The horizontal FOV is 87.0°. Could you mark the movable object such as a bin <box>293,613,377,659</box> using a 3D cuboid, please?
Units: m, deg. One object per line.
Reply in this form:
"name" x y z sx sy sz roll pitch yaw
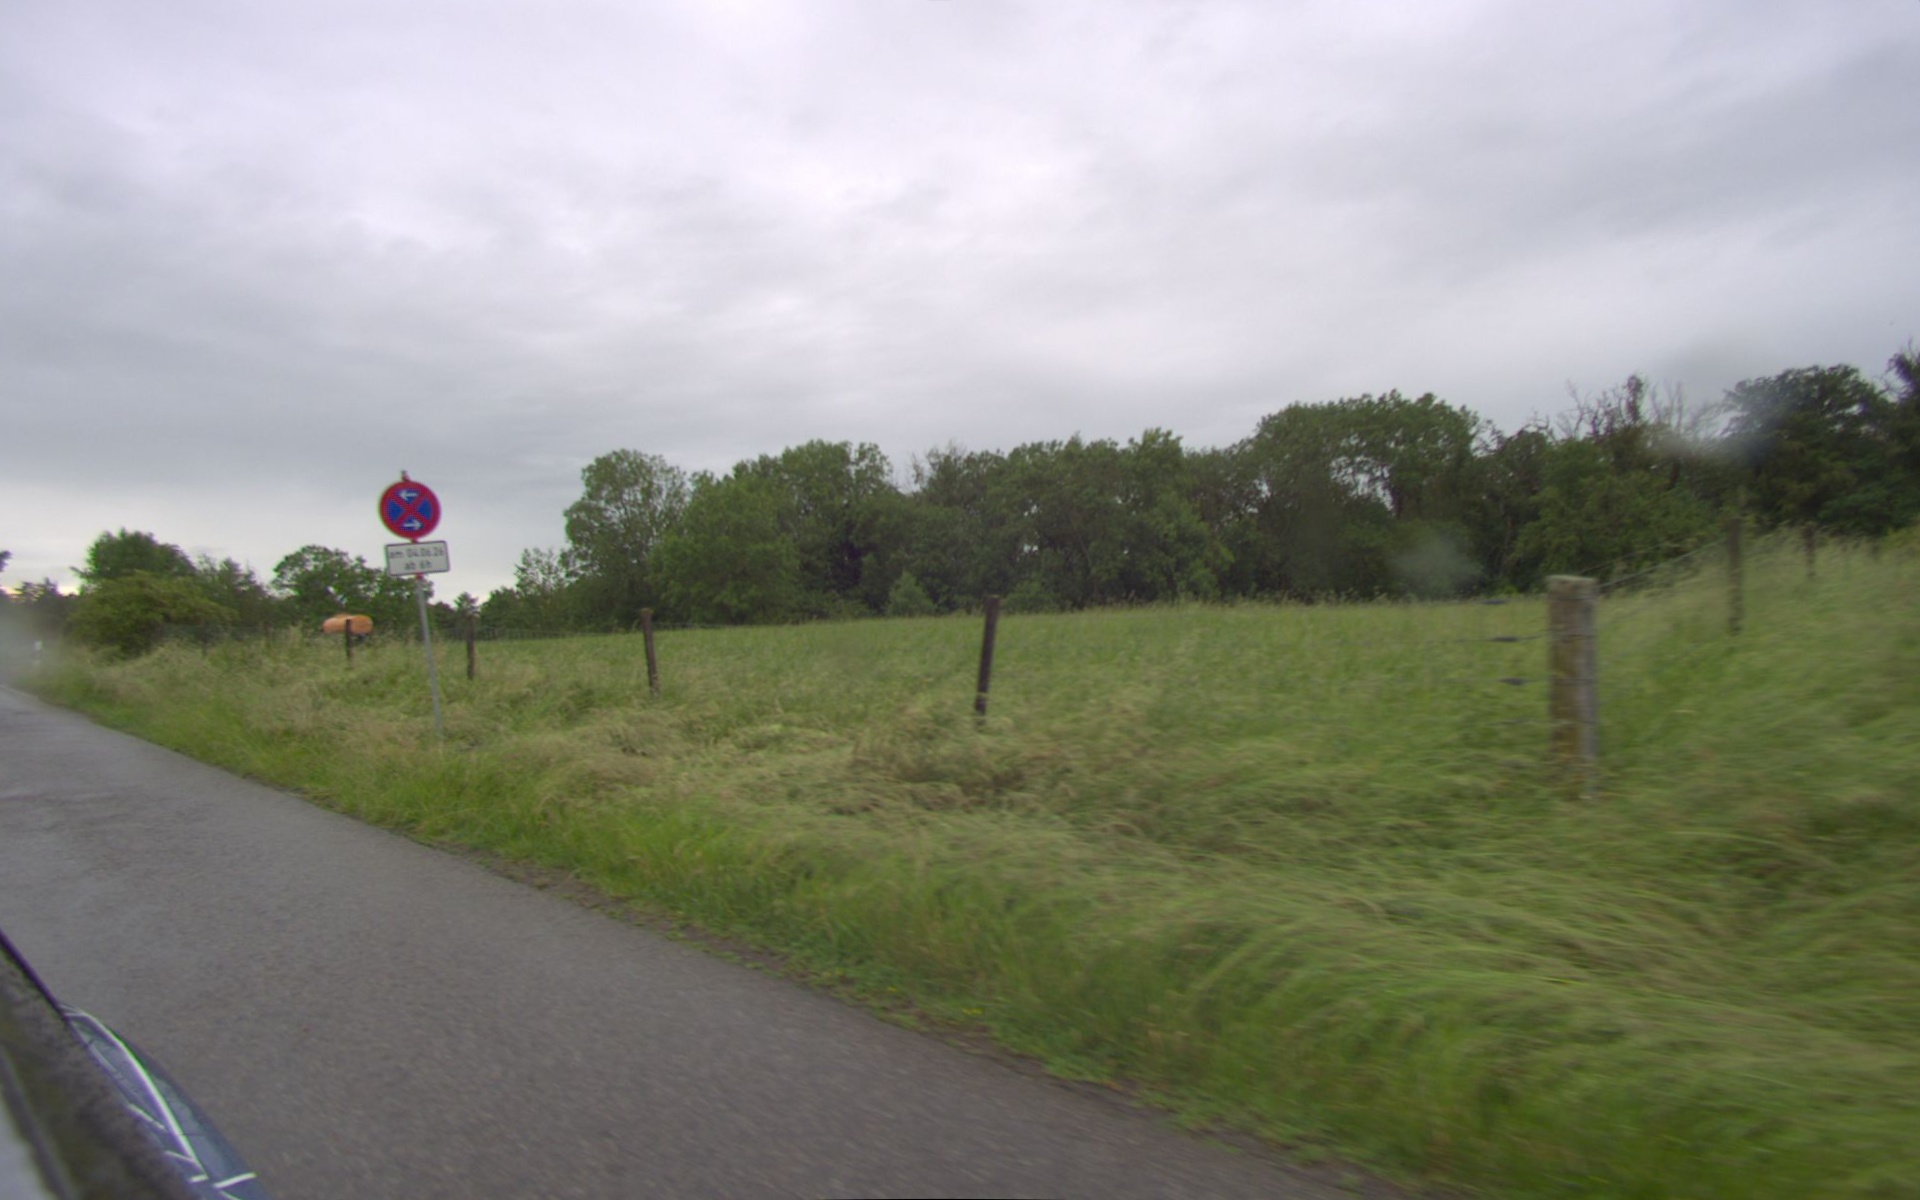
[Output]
"movable object such as a bin" -23.600 1.345 38.166 3.536 1.582 1.662 -1 0 40
